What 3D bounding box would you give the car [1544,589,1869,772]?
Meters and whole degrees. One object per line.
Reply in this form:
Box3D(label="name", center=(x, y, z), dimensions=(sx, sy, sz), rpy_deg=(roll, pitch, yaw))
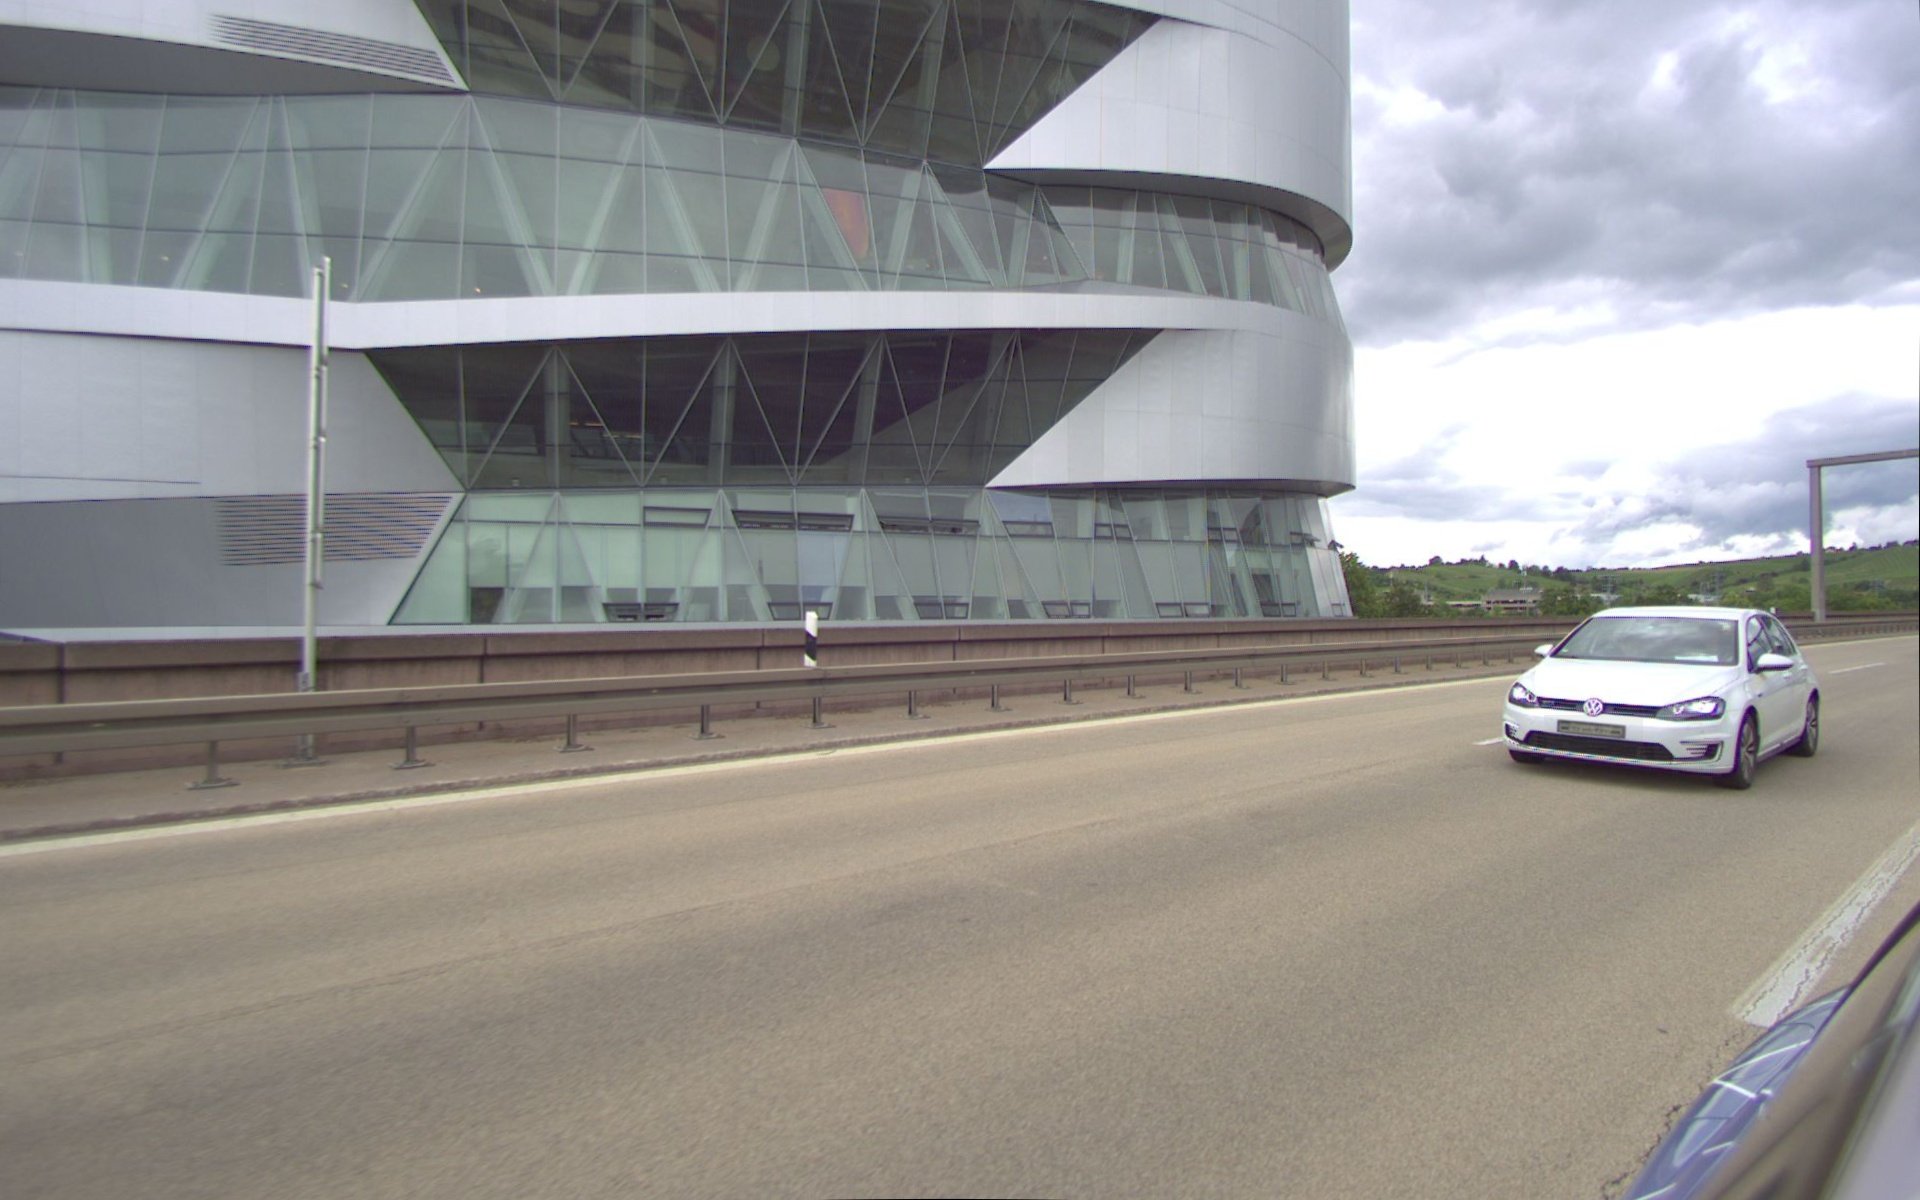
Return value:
Box3D(label="car", center=(7.898, 0.654, 10.581), dimensions=(3.990, 1.527, 1.929), rpy_deg=(-1, 1, -41))
